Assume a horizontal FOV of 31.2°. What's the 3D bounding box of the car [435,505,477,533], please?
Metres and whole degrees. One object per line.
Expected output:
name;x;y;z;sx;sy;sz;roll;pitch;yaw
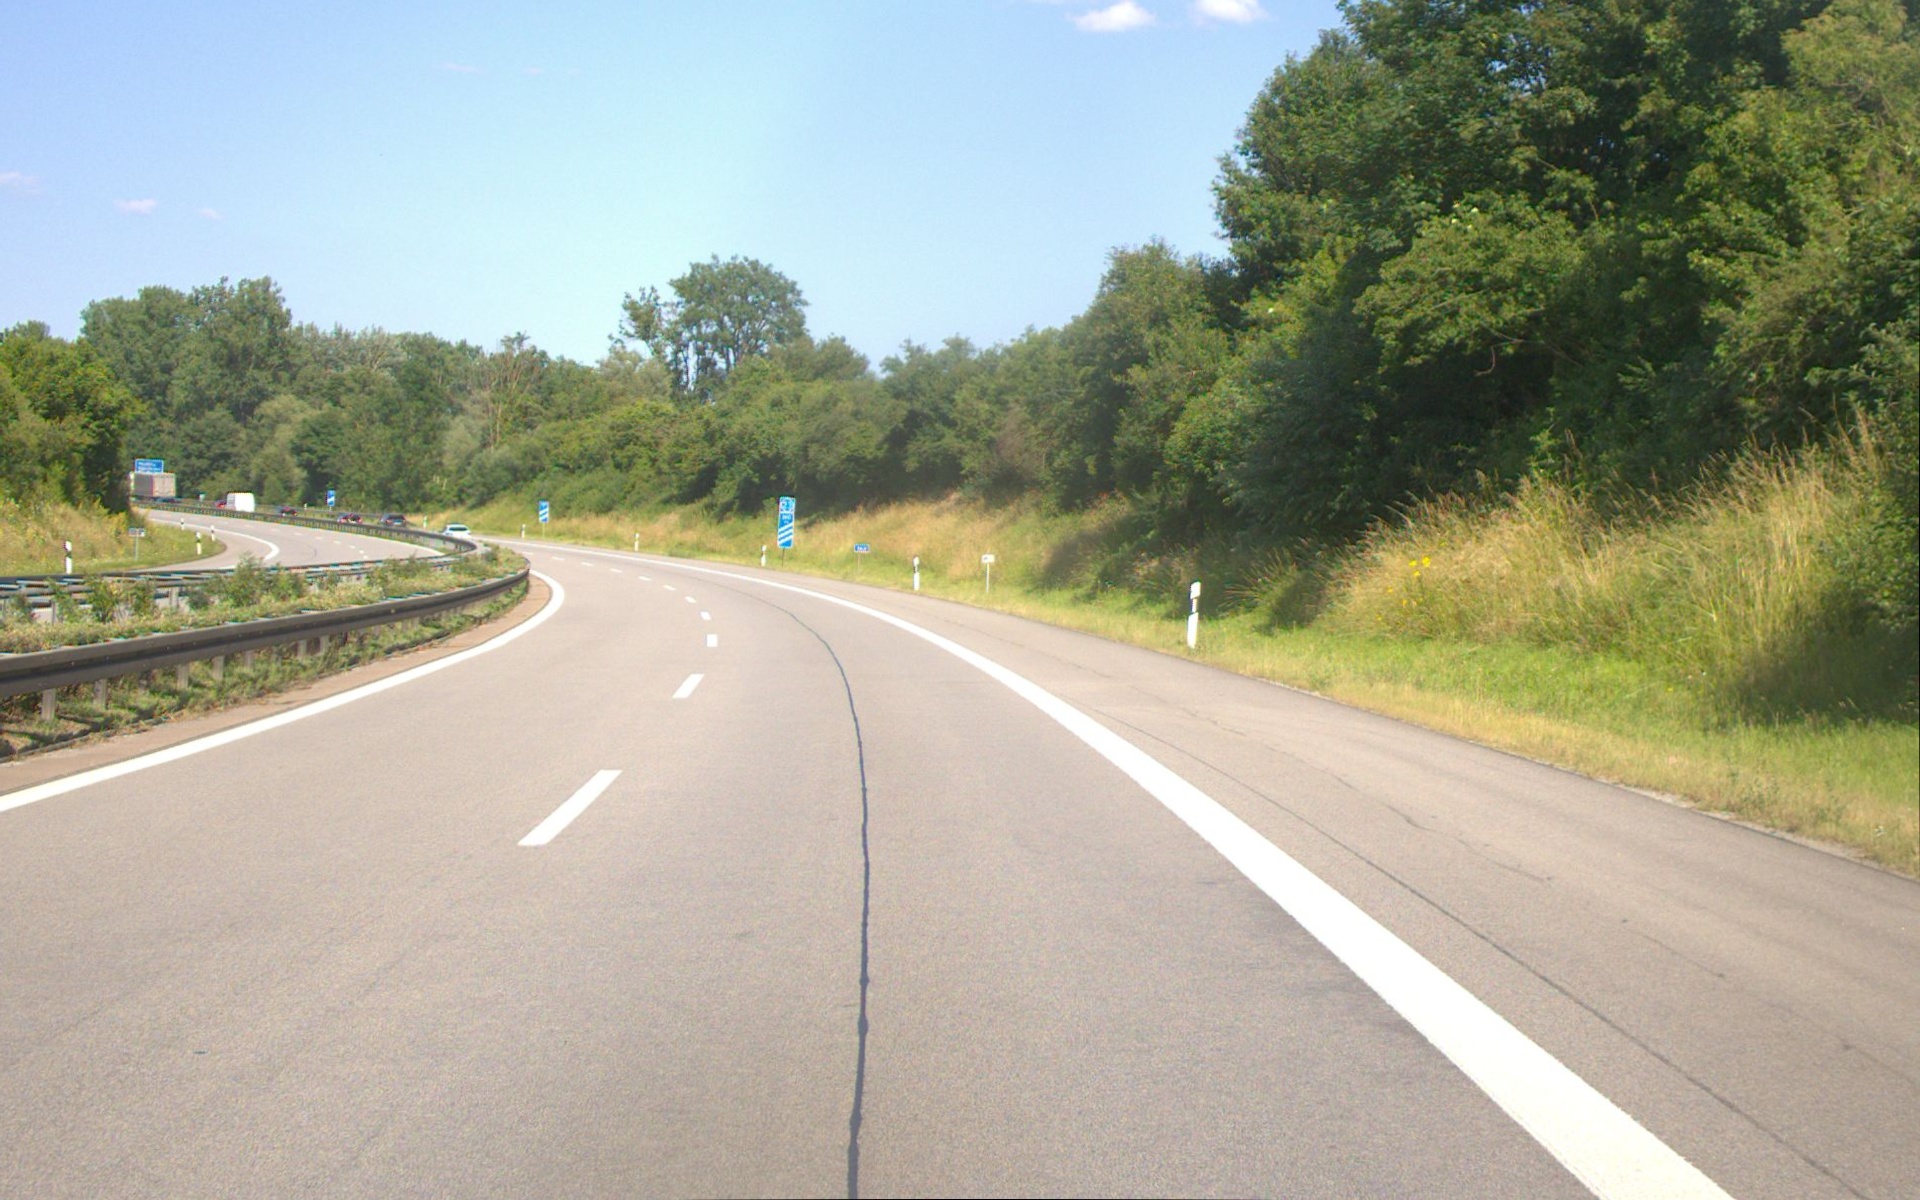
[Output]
car;-31.553;-5.058;215.038;2.061;1.619;4.001;1;0;-16
